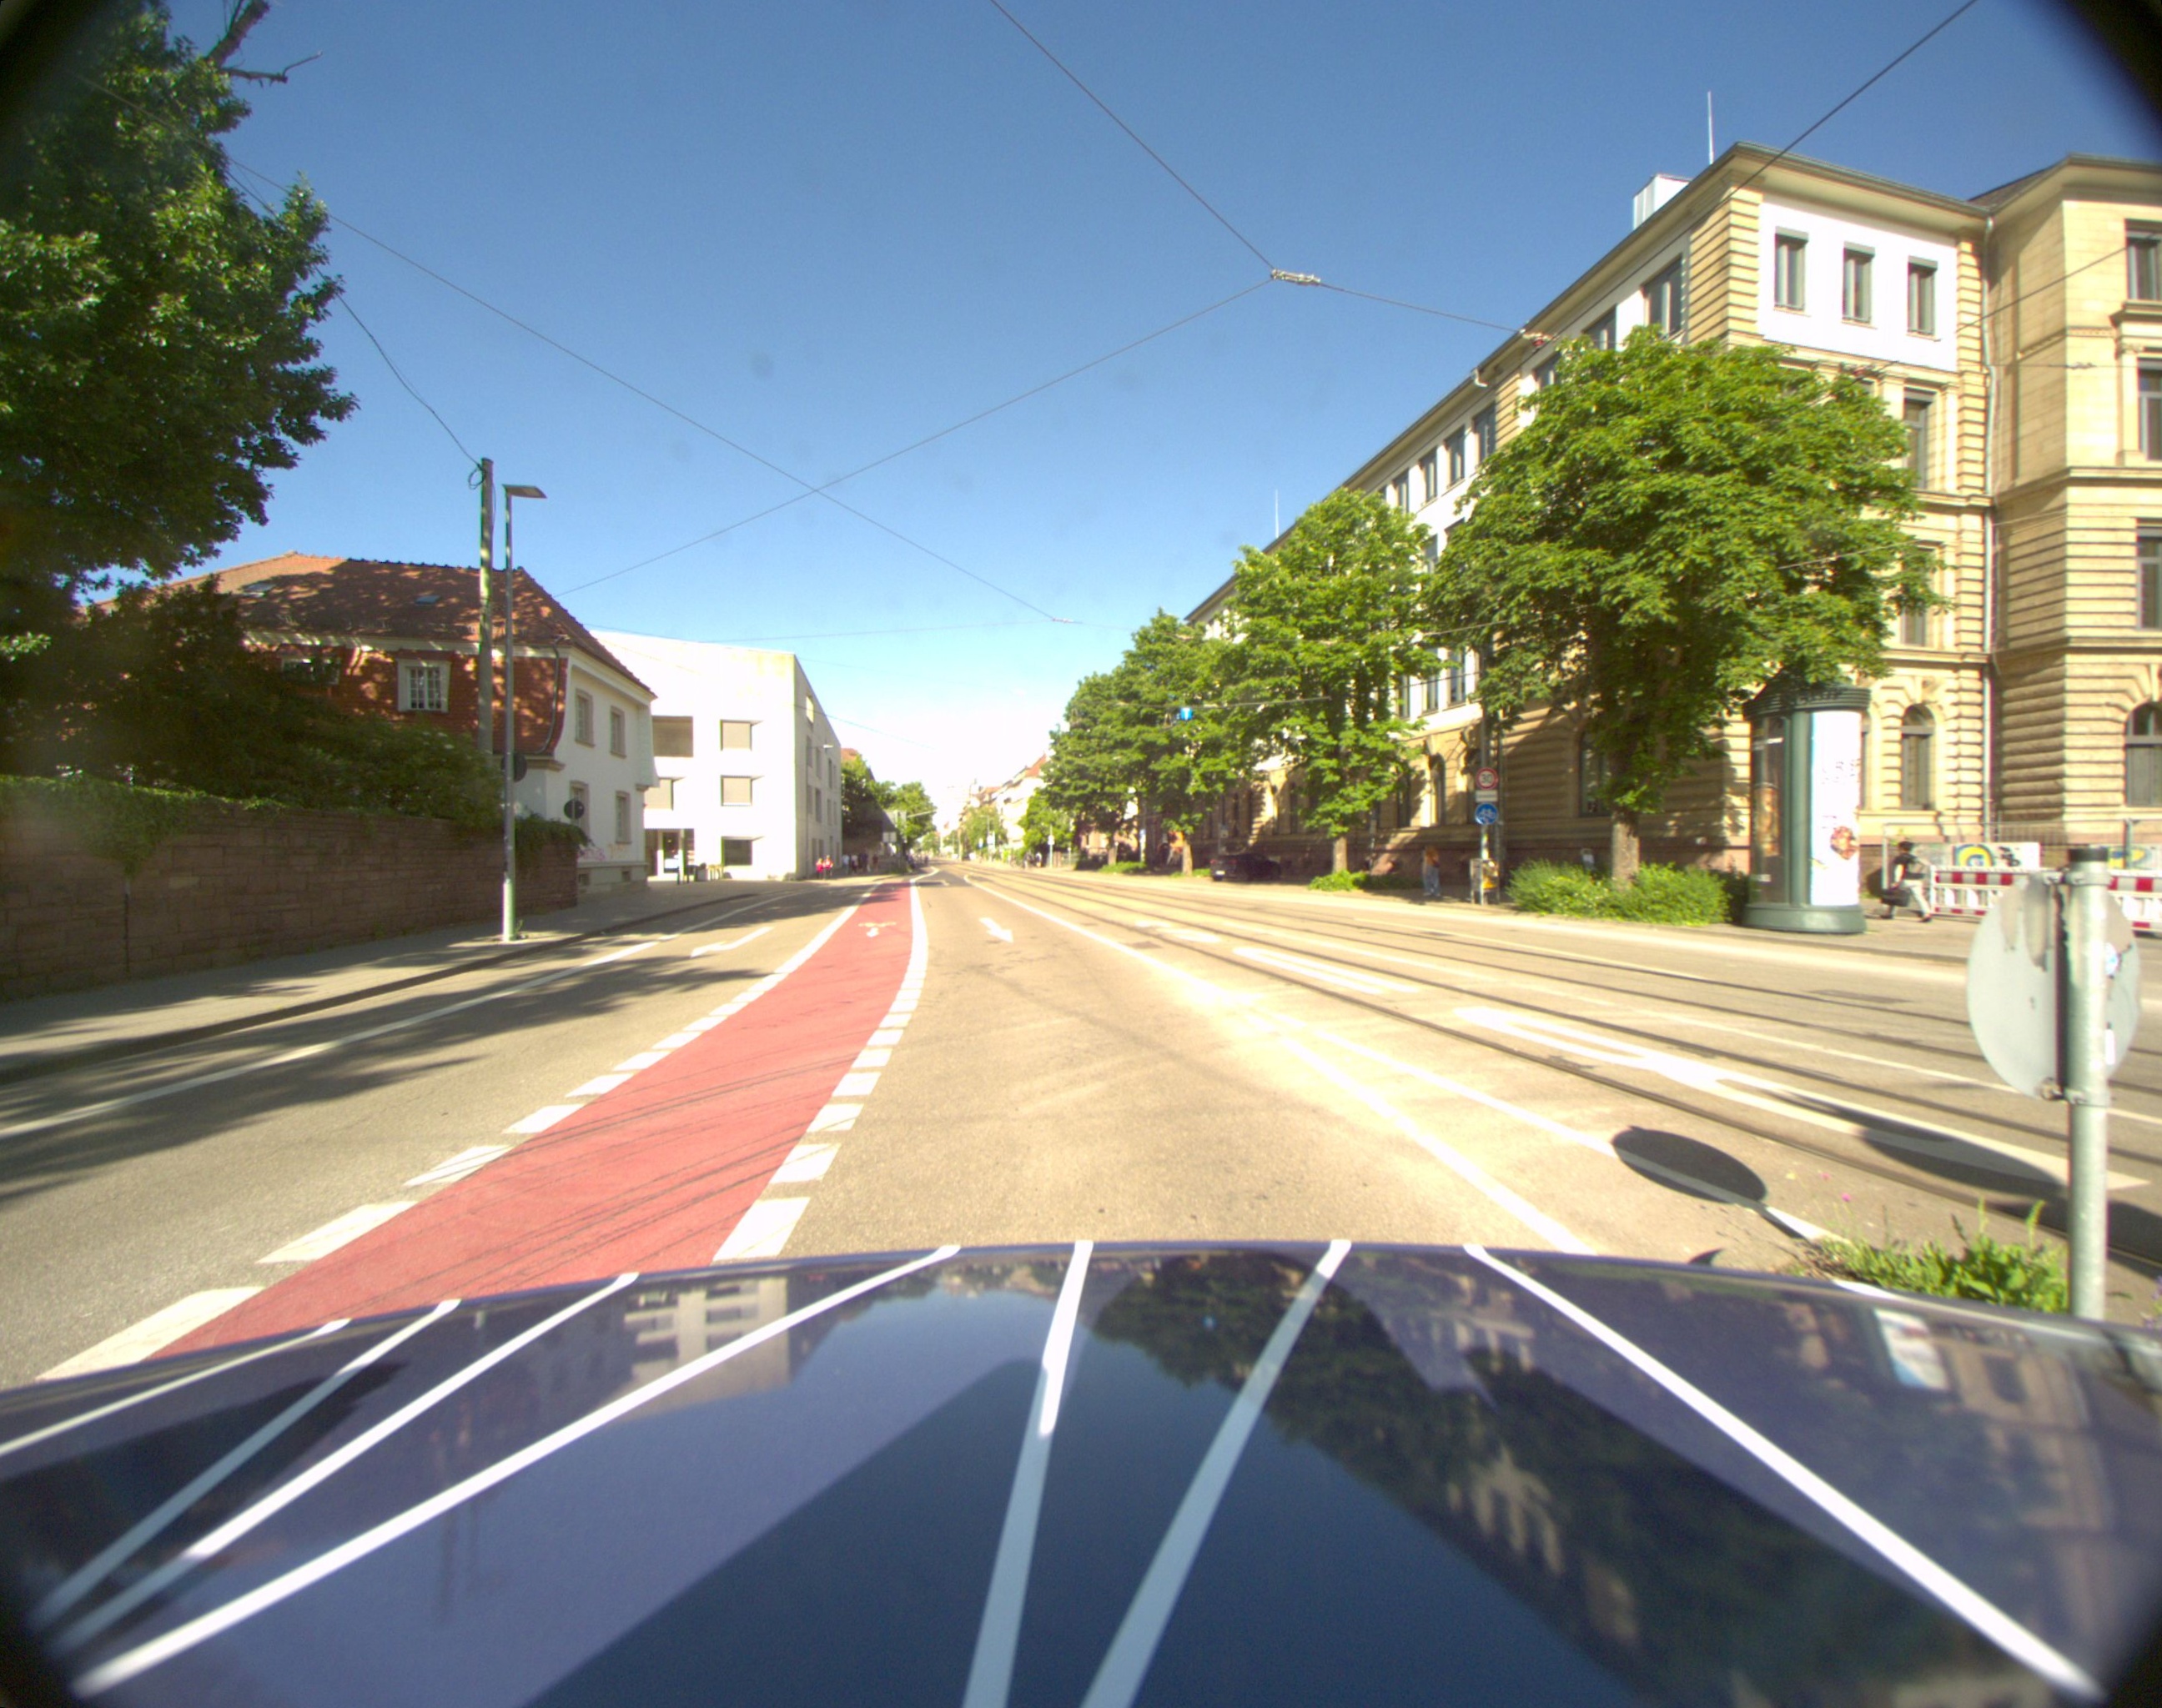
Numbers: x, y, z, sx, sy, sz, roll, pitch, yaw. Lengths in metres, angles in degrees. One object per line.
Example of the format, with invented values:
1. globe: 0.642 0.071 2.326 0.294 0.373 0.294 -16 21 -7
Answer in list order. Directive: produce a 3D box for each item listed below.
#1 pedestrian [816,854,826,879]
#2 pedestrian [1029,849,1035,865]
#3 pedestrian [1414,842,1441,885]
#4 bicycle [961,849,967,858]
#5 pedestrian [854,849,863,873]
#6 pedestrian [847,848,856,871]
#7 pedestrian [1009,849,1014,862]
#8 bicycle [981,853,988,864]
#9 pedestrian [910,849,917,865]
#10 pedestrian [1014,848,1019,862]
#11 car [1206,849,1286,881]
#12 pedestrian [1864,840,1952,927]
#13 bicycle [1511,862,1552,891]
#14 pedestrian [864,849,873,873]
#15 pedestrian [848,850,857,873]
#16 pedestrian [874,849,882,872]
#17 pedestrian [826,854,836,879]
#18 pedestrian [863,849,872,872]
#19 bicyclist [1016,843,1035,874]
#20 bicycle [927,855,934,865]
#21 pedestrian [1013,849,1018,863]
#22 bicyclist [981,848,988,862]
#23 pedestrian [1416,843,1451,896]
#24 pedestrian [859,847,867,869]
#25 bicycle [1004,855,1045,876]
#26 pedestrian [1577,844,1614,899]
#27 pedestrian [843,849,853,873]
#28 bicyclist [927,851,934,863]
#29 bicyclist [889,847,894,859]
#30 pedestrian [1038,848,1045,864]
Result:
1. pedestrian: -16.433 0.774 47.961 0.535 1.557 0.519 -1 1 -13
2. pedestrian: -6.001 0.355 92.669 0.579 1.845 0.653 -1 1 -11
3. pedestrian: 13.234 0.352 29.040 0.857 1.558 0.674 -3 2 22
4. bicycle: -25.556 -0.125 165.591 1.004 1.672 2.981 -2 2 -12
5. pedestrian: -16.686 0.500 56.924 0.588 1.795 0.545 -1 1 -13
6. pedestrian: -18.233 0.434 60.409 0.588 1.795 0.545 -1 1 -13
7. pedestrian: -9.349 0.199 102.300 0.579 1.845 0.684 -1 1 -11
8. bicycle: -15.755 0.660 124.205 1.004 1.672 2.981 -2 2 -9
9. pedestrian: -18.528 0.336 84.050 0.679 1.728 0.931 0 1 -10
10. pedestrian: -8.702 0.176 102.473 0.579 1.845 0.684 -1 1 -11
11. car: 8.589 0.521 39.485 4.118 1.565 1.916 -1 1 -39
12. pedestrian: 16.465 0.569 15.148 0.729 1.660 0.846 0 3 -2
13. bicycle: 15.280 0.749 25.804 0.398 0.898 1.359 -2 2 -10
14. pedestrian: -16.001 0.507 57.159 0.588 1.795 0.519 -1 1 -13
15. pedestrian: -17.720 0.558 58.831 0.588 1.795 0.582 -1 1 -13
16. pedestrian: -15.338 0.511 57.387 0.588 1.717 0.519 -1 1 -13
17. pedestrian: -15.823 0.759 48.061 0.535 1.557 0.519 -1 1 -13
18. pedestrian: -16.670 0.493 59.312 0.588 1.795 0.582 -1 1 -13
19. bicyclist: -5.570 0.436 76.277 1.476 2.959 1.002 -3 2 -29
20. bicycle: -18.856 0.741 95.257 0.665 1.146 1.670 -2 2 -8
21. pedestrian: -8.468 0.287 97.961 0.579 1.845 0.684 -1 1 -11
22. bicyclist: -15.769 0.140 124.169 1.004 2.255 1.019 -2 2 -9
23. pedestrian: 11.405 0.508 24.562 0.770 1.658 1.036 -2 -4 39
24. pedestrian: -17.392 0.324 60.621 0.588 1.795 0.545 -1 1 -13
25. bicycle: -5.655 1.149 76.253 3.899 1.876 1.002 -3 2 -29
26. pedestrian: 14.672 0.482 21.685 0.579 1.553 0.653 -1 1 -12
27. pedestrian: -17.424 0.523 56.836 0.588 1.795 0.545 -1 1 -13
28. bicyclist: -18.866 0.396 95.225 0.665 1.453 0.622 -2 2 -8
29. bicyclist: -34.929 -0.228 139.906 0.813 2.194 0.983 -2 2 -10
30. pedestrian: -4.394 0.231 84.858 0.729 1.845 0.653 0 1 -9
